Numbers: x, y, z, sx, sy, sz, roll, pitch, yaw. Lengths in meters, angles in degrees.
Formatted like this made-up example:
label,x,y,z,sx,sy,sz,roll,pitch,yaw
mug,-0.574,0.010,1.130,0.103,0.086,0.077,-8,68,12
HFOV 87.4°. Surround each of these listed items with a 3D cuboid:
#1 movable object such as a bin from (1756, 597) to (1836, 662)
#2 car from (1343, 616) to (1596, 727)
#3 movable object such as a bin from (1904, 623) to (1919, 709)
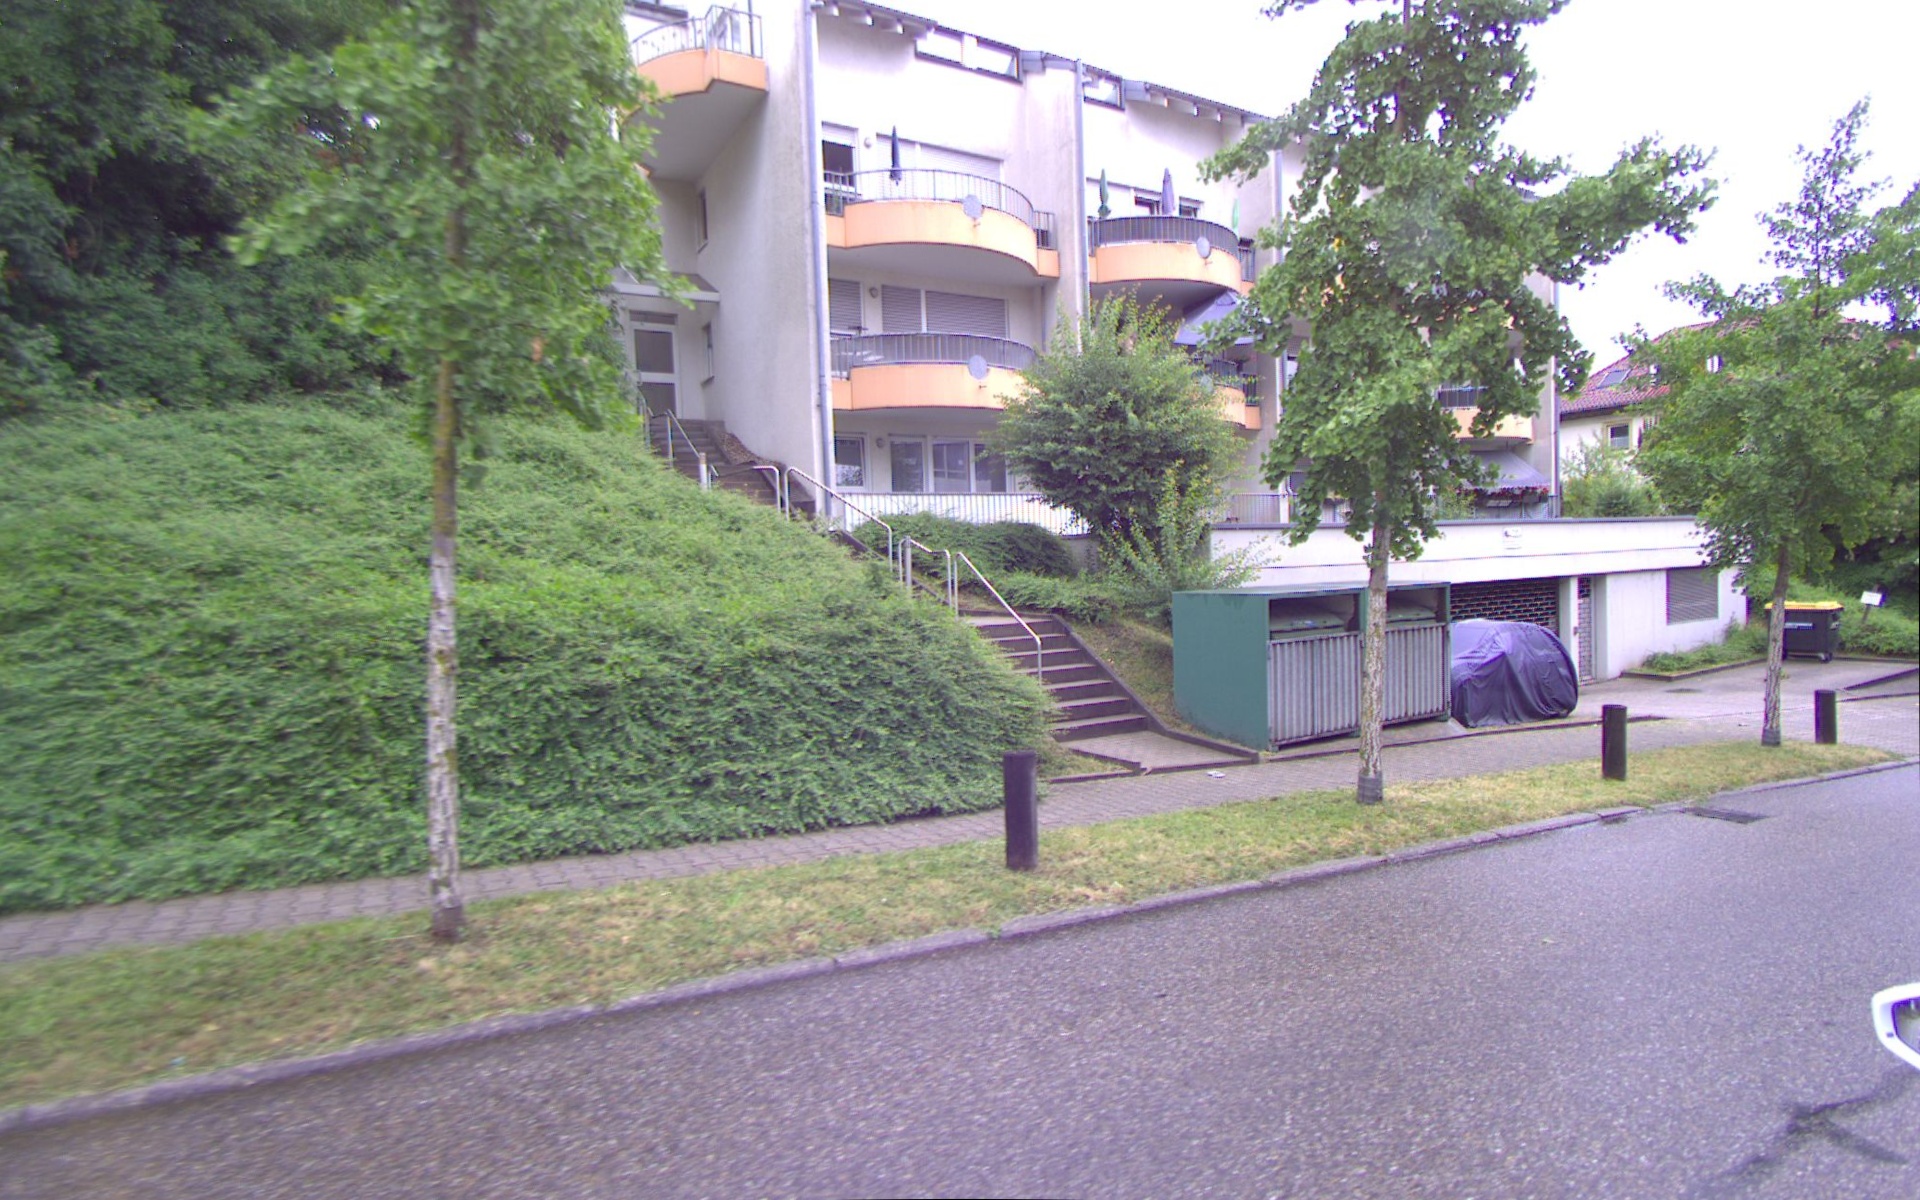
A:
label,x,y,z,sx,sy,sz,roll,pitch,yaw
movable object such as a bin,18.906,0.646,22.730,0.483,1.406,1.264,-1,2,-32
car,7.751,1.018,15.212,3.843,1.475,1.732,1,-3,-34
movable object such as a bin,16.275,1.115,16.312,0.483,1.406,1.264,-1,2,-32
